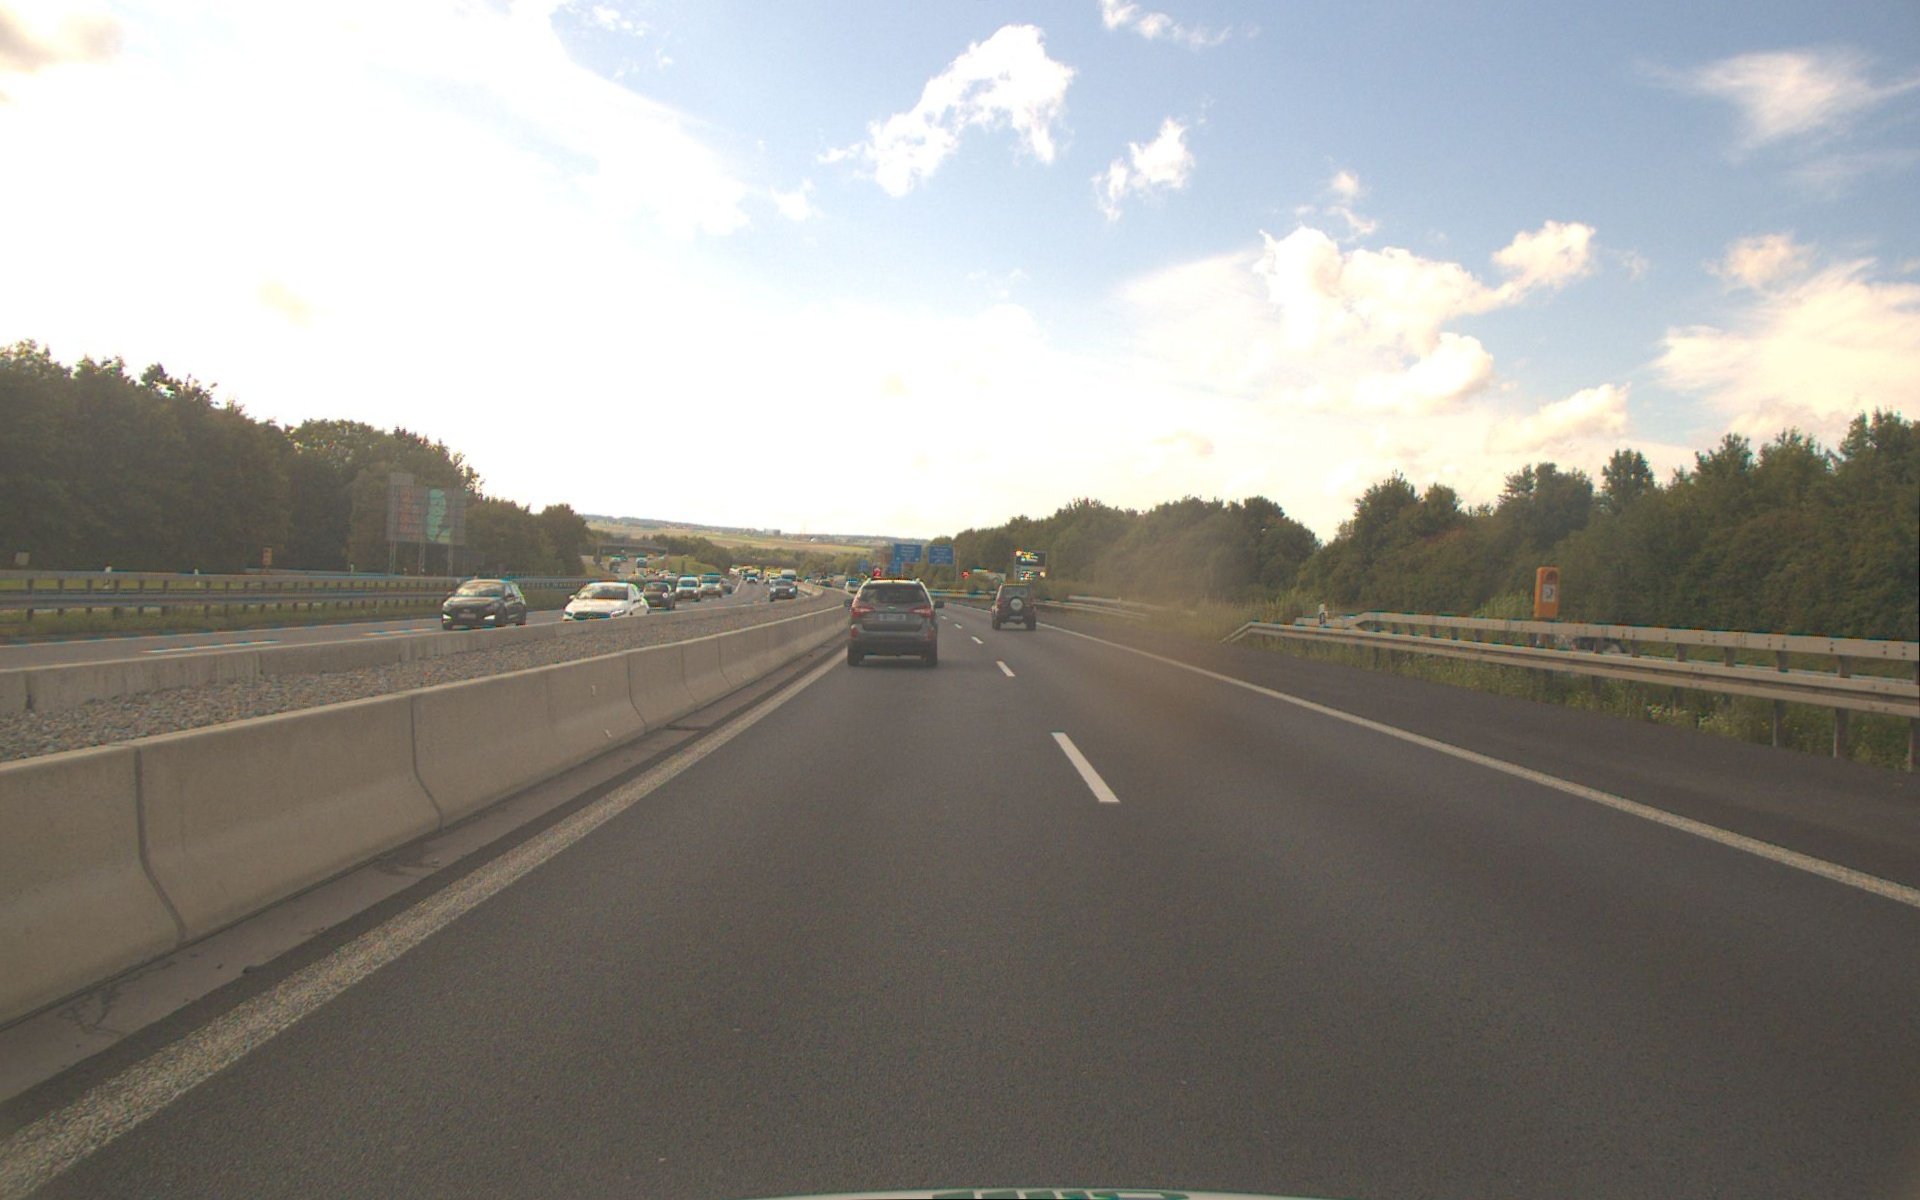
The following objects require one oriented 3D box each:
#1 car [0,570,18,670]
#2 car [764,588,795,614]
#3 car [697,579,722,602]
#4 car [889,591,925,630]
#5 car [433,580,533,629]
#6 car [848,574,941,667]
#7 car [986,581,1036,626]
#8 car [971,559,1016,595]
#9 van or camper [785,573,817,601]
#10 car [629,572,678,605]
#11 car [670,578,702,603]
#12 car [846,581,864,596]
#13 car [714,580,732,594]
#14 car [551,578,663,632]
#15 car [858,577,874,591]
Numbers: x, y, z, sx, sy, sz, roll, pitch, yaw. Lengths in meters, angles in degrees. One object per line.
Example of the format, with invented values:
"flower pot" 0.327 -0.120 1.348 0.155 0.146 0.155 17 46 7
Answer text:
"car" -14.788 0.282 22.051 1.847 1.454 4.577 1 0 0
"car" -14.211 0.051 130.431 1.953 1.953 5.147 2 0 -2
"car" -22.351 -0.853 147.657 1.877 1.939 5.281 0 0 -5
"car" -3.105 0.597 97.545 1.989 2.189 4.000 1 0 0
"car" -14.271 0.115 49.725 1.830 1.361 4.228 1 0 -1
"car" -1.349 0.417 34.898 1.781 1.766 5.184 1 0 -2
"car" 1.937 0.110 63.777 1.555 1.625 4.094 1 0 -3
"car" 4.410 -3.006 222.520 4.637 4.341 11.388 1 -1 -6
"van or camper" -17.936 -1.480 186.934 3.268 2.967 7.462 1 0 -3
"car" -16.753 -0.632 90.675 1.953 1.721 4.372 1 0 -2
"car" -20.903 -0.747 126.220 1.954 1.846 4.238 1 0 -4
"car" -13.032 -1.434 205.552 1.956 1.713 3.992 1 -1 -8
"car" -25.174 -1.400 175.797 1.752 1.442 4.985 1 1 -9
"car" -9.727 0.112 46.070 2.004 1.361 5.607 1 0 -1
"car" -14.651 -2.486 257.167 1.957 1.963 3.990 1 -1 -10
